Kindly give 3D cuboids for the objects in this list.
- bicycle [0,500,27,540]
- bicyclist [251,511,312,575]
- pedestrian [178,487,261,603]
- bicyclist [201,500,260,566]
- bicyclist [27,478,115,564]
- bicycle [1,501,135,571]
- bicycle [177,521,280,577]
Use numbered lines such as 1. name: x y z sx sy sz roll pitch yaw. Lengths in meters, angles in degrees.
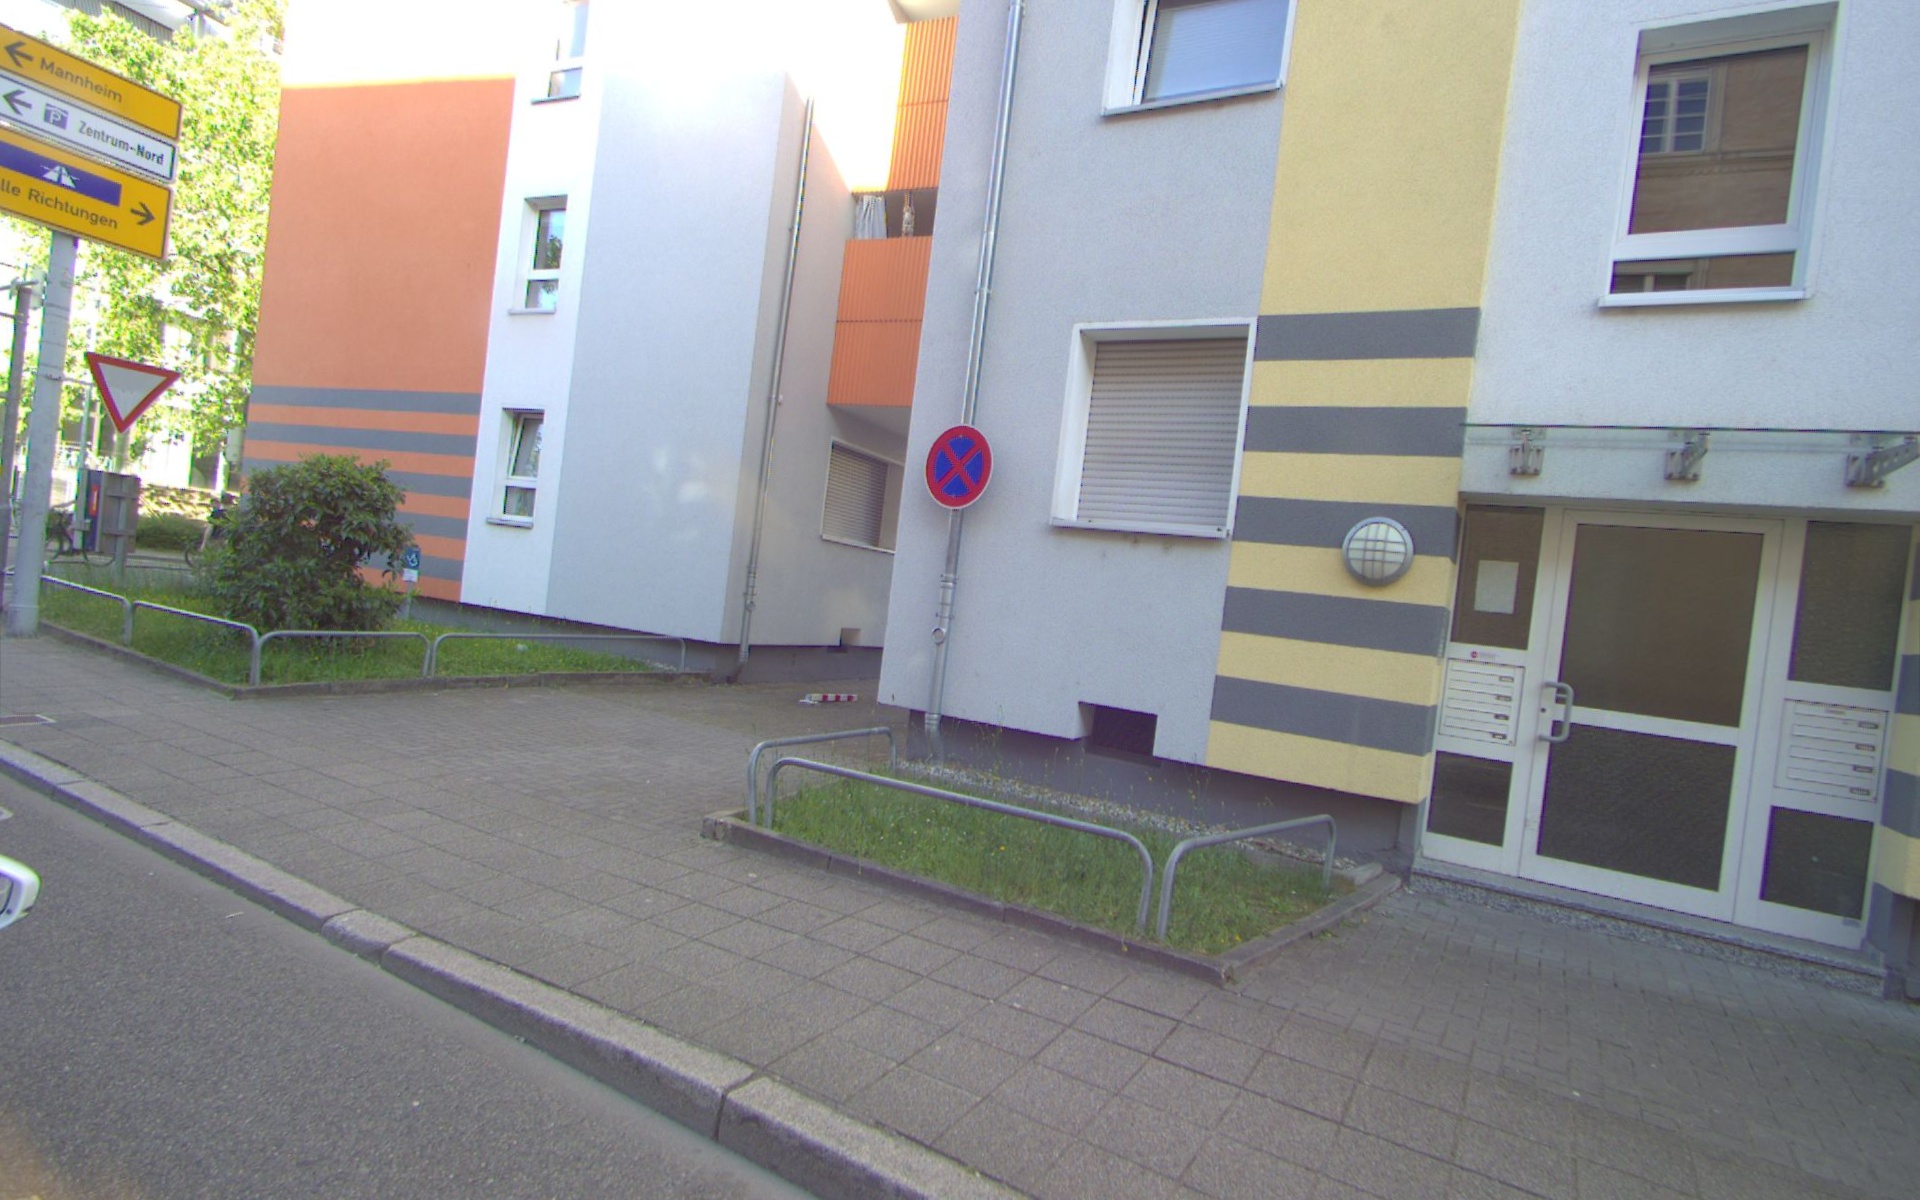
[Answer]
1. bicycle: -26.404 -2.244 27.392 1.409 1.021 0.379 7 1 -11
2. bicyclist: -16.875 -1.410 25.038 0.617 1.464 0.972 7 1 31
3. pedestrian: -12.552 -0.907 17.071 0.690 1.831 0.719 7 -1 -9
4. bicyclist: -18.624 -1.698 25.704 0.693 1.542 0.916 7 1 32
5. bicyclist: -17.898 -1.574 20.274 0.581 1.546 1.079 7 1 14
6. bicycle: -17.924 -1.266 20.282 0.581 1.166 1.971 7 0 14
7. bicycle: -18.663 -1.286 25.711 0.617 1.166 1.965 7 0 32
